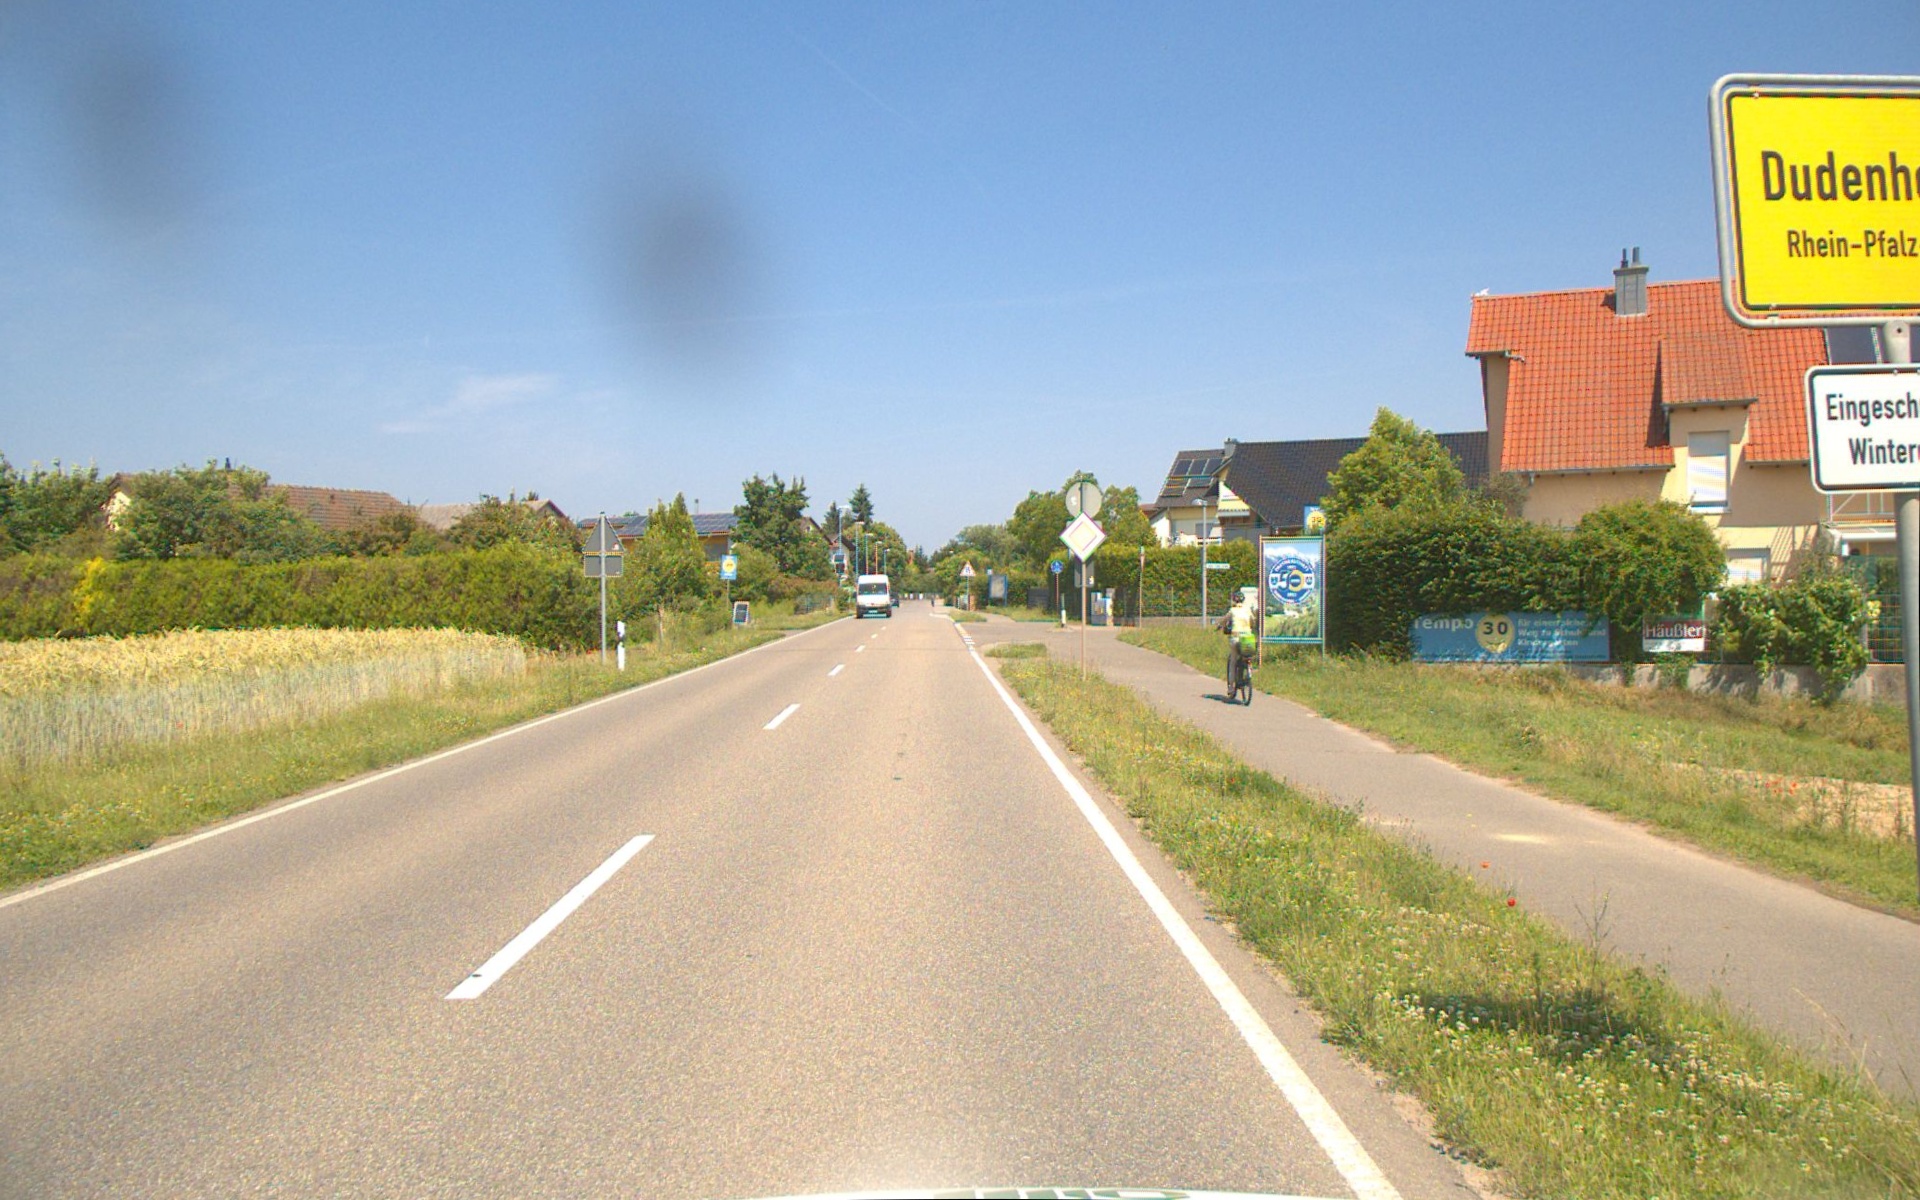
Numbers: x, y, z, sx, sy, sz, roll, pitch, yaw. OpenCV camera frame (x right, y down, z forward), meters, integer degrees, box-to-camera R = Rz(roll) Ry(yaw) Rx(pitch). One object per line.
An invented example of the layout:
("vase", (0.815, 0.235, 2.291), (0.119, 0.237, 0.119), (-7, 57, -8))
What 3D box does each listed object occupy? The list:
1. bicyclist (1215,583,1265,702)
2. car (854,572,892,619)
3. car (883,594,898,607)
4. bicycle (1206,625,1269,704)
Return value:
("bicyclist", (4.632, 0.690, 27.421), (0.632, 1.922, 0.860), (1, 1, -2))
("car", (-5.077, -0.301, 97.234), (2.035, 2.586, 5.871), (-2, 1, -2))
("car", (-8.324, 0.074, 198.485), (1.723, 1.409, 3.451), (-2, 0, -2))
("bicycle", (4.627, 1.049, 27.701), (0.598, 1.179, 2.273), (1, 1, -2))
